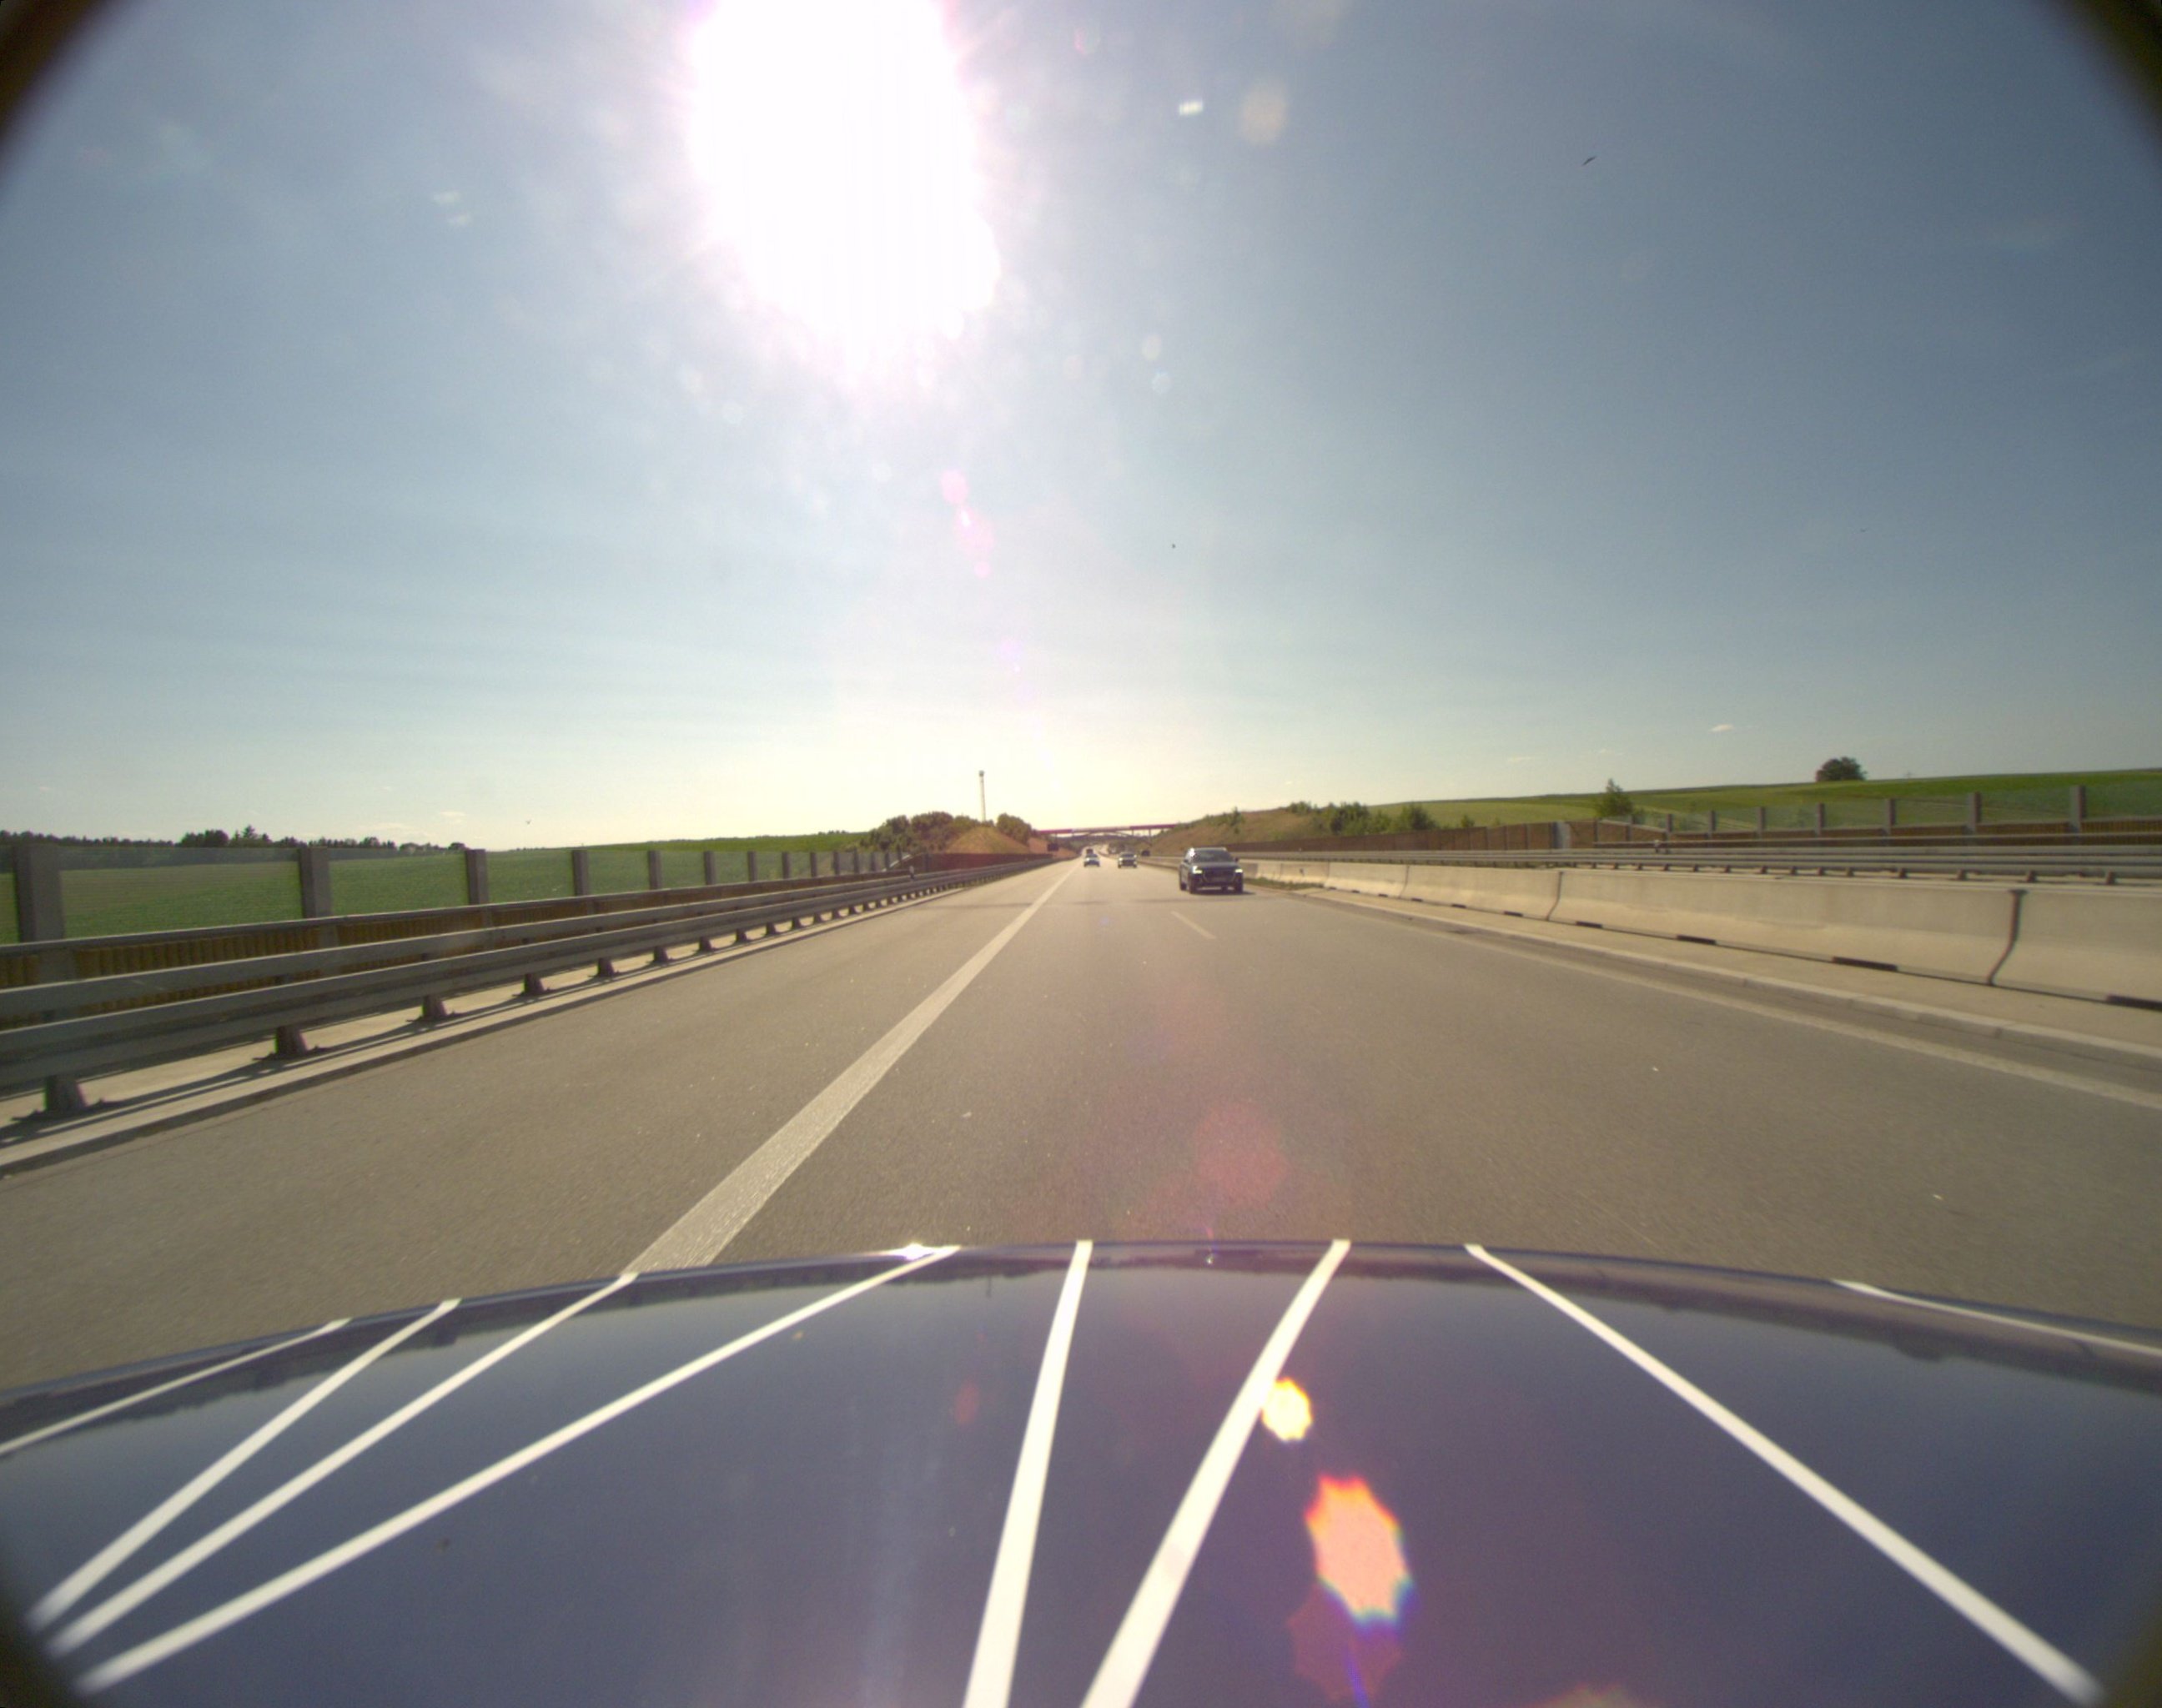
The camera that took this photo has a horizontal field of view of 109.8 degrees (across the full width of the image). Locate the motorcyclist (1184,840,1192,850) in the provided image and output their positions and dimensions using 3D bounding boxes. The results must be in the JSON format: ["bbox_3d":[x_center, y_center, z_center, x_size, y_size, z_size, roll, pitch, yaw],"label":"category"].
[{"bbox_3d":[16.843,-1.412,119.759,1.015,1.555,1.428,-1,1,1],"label":"motorcyclist"}]

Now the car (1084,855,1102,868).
[{"bbox_3d":[1.429,0.831,86.155,1.909,1.449,4.376,-1,0,2],"label":"car"}]

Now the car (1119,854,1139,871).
[{"bbox_3d":[4.805,0.825,76.661,1.776,1.560,4.988,-1,0,1],"label":"car"}]

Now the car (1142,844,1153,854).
[{"bbox_3d":[13.531,-0.956,154.908,1.998,2.002,5.737,-1,0,1],"label":"car"}]

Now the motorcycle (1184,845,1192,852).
[{"bbox_3d":[16.855,-0.890,119.772,1.015,1.160,2.868,-1,0,1],"label":"motorcycle"}]

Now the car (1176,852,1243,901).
[{"bbox_3d":[4.662,0.747,28.244,1.726,1.578,5.222,-1,0,1],"label":"car"}]
